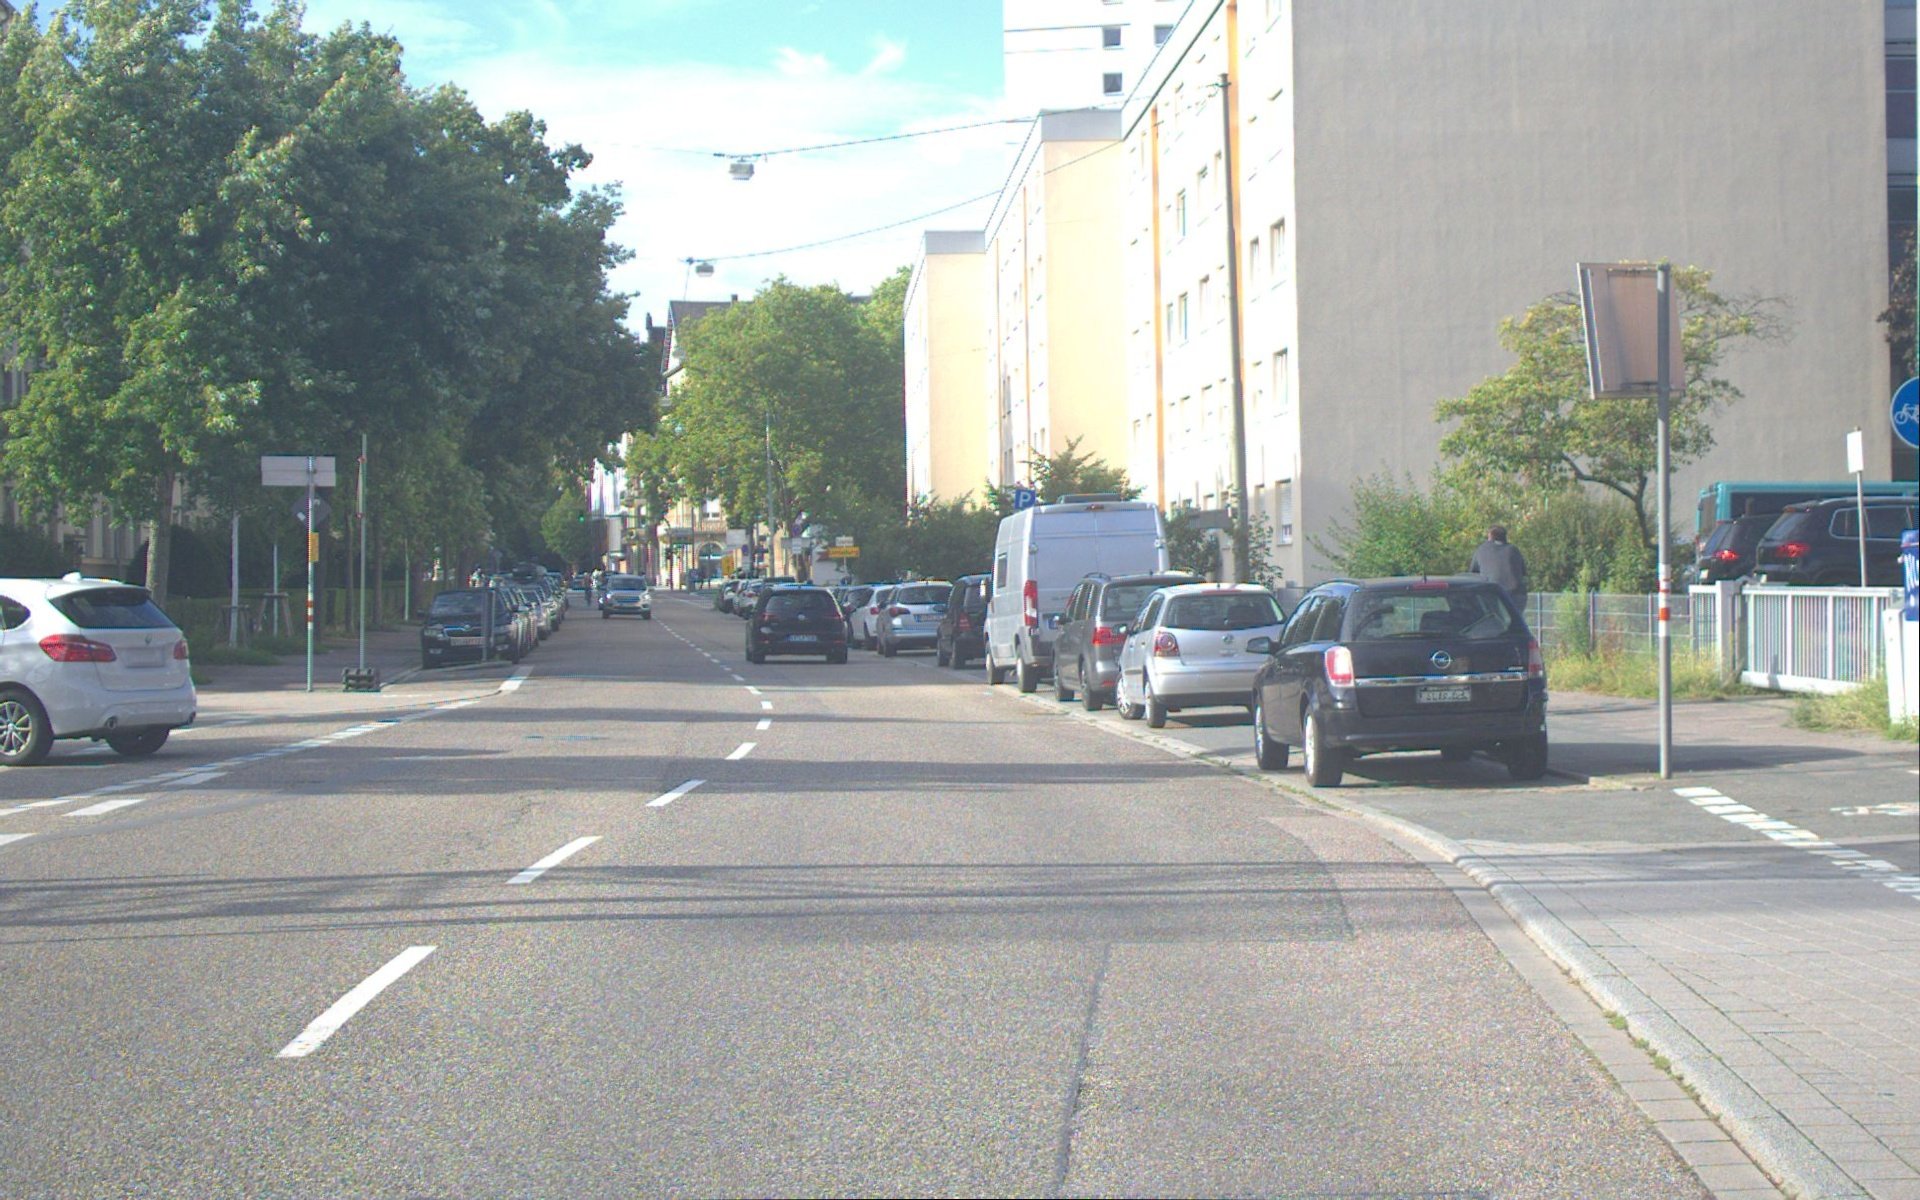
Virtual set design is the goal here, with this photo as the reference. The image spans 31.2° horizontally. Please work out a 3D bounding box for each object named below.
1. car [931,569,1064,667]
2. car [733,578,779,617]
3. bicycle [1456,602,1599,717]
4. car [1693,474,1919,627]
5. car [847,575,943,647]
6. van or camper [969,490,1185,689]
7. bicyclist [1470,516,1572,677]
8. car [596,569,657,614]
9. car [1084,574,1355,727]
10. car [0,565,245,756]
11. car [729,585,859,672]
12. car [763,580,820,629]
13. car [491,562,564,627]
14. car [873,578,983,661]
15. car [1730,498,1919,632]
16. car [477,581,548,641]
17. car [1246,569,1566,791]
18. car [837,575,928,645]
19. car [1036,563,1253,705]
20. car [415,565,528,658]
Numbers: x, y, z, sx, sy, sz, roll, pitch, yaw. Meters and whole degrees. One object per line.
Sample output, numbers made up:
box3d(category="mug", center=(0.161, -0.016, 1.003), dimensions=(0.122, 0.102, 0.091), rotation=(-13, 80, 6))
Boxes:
box3d(category="car", center=(0.604, 0.284, 59.310), dimensions=(1.993, 1.568, 4.000), rotation=(-2, 0, -3))
box3d(category="car", center=(-9.274, -0.124, 156.548), dimensions=(1.993, 1.749, 4.000), rotation=(0, 0, -2))
box3d(category="bicycle", center=(5.493, 0.556, 33.443), dimensions=(0.740, 1.031, 2.762), rotation=(-3, 0, -3))
box3d(category="car", center=(13.252, -0.750, 51.433), dimensions=(4.119, 2.178, 2.000), rotation=(-2, 0, 1))
box3d(category="car", center=(-1.496, 0.220, 77.578), dimensions=(1.993, 1.525, 4.000), rotation=(-2, 1, -3))
box3d(category="van or camper", center=(1.566, -0.159, 48.405), dimensions=(2.209, 2.598, 5.372), rotation=(-2, 0, -6))
box3d(category="bicyclist", center=(5.457, -0.038, 33.489), dimensions=(0.737, 1.508, 0.875), rotation=(-3, 0, -3))
box3d(category="car", center=(-12.829, -0.338, 131.982), dimensions=(2.055, 1.658, 3.927), rotation=(-2, 1, -9))
box3d(category="car", center=(2.707, 0.520, 37.065), dimensions=(2.015, 1.470, 4.803), rotation=(-2, 0, -6))
box3d(category="car", center=(-8.529, 0.487, 29.587), dimensions=(4.265, 1.549, 1.998), rotation=(0, 0, 22))
box3d(category="car", center=(-3.130, 0.503, 63.952), dimensions=(1.993, 1.565, 4.001), rotation=(0, 0, -9))
box3d(category="car", center=(-6.184, 0.152, 125.662), dimensions=(1.993, 1.678, 4.000), rotation=(-2, 0, -3))
box3d(category="car", center=(-13.919, -0.182, 110.851), dimensions=(1.993, 2.007, 4.000), rotation=(-2, 0, -3))
box3d(category="car", center=(-0.678, 0.366, 69.727), dimensions=(1.993, 1.568, 4.000), rotation=(-2, 0, -3))
box3d(category="car", center=(12.317, -0.481, 44.000), dimensions=(4.448, 1.616, 2.000), rotation=(-2, 0, 1))
box3d(category="car", center=(-12.311, 0.293, 94.527), dimensions=(1.806, 1.556, 3.434), rotation=(-2, 1, -9))
box3d(category="car", center=(3.245, 0.556, 25.776), dimensions=(1.717, 1.491, 4.268), rotation=(-1, 0, -1))
box3d(category="car", center=(-1.882, 0.221, 82.305), dimensions=(1.993, 1.568, 4.000), rotation=(-2, 0, -3))
box3d(category="car", center=(2.210, 0.381, 42.390), dimensions=(1.993, 1.610, 4.409), rotation=(-2, 1, -6))
box3d(category="car", center=(-9.164, 0.200, 64.392), dimensions=(1.993, 1.634, 4.001), rotation=(-2, 0, -9))
